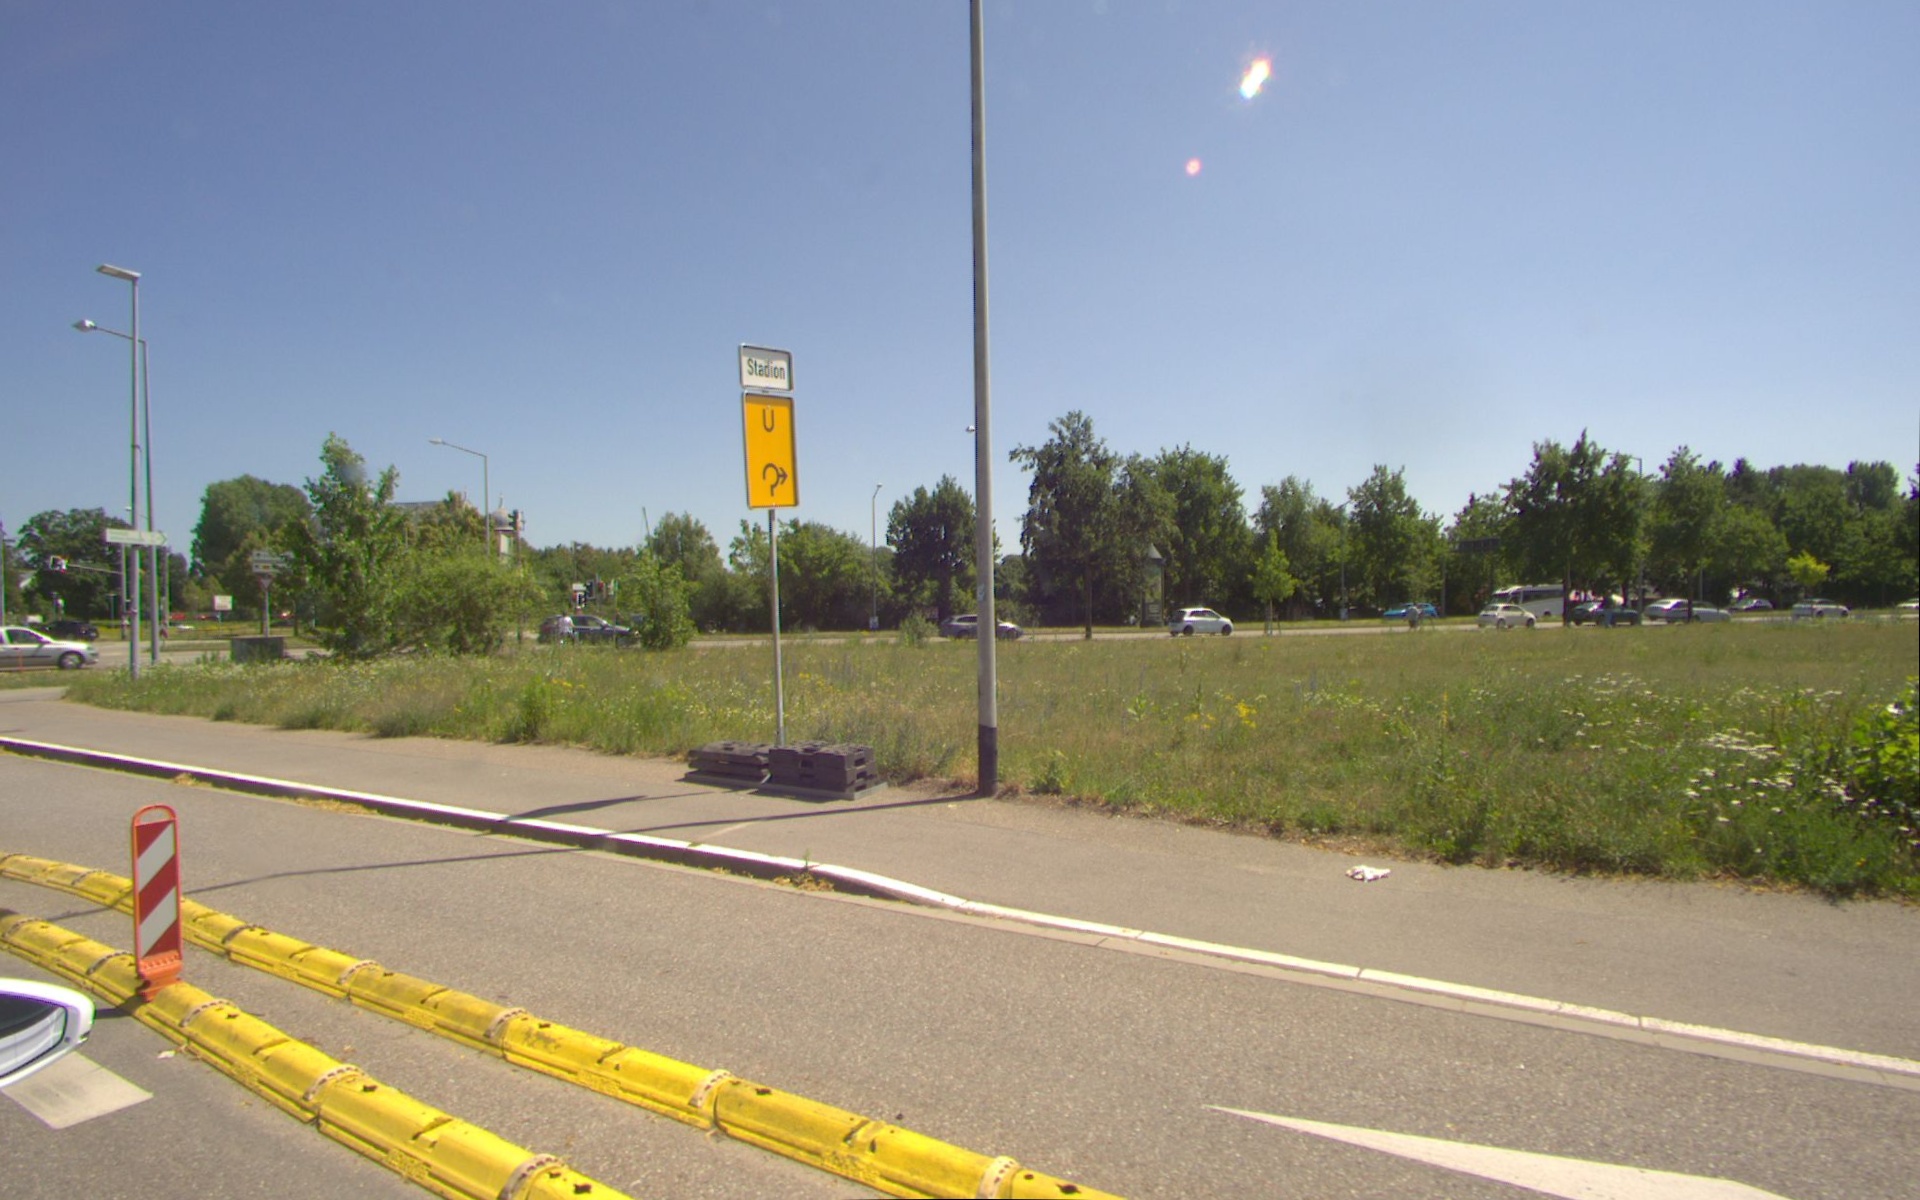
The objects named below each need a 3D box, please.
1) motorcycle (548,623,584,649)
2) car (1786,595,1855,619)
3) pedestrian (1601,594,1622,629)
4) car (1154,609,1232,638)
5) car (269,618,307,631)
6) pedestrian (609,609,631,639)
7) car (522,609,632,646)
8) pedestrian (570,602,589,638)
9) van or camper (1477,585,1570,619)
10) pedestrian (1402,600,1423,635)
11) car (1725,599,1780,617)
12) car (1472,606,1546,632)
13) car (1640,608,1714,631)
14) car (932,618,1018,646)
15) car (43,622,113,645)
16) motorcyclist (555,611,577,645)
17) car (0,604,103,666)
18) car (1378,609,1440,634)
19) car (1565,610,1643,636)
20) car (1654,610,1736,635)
[{"bbox_3d":[-15.107,1.371,38.425,0.619,0.982,1.709,0,-1,3],"label":"motorcycle"},{"bbox_3d":[59.816,0.491,69.624,3.928,1.572,1.738,0,-1,-16],"label":"car"},{"bbox_3d":[32.371,0.590,49.764,0.724,1.712,0.497,0,0,-18],"label":"pedestrian"},{"bbox_3d":[13.066,1.295,56.223,3.928,1.572,1.738,0,-1,-16],"label":"car"},{"bbox_3d":[-92.462,3.351,137.827,1.964,1.736,3.996,-1,-1,16],"label":"car"},{"bbox_3d":[-18.501,1.309,54.443,0.811,1.583,0.790,-1,-1,33],"label":"pedestrian"},{"bbox_3d":[-17.315,1.229,45.320,4.386,1.616,1.989,1,-1,-32],"label":"car"},{"bbox_3d":[-20.529,1.092,53.981,0.726,1.894,0.648,-1,-1,34],"label":"pedestrian"},{"bbox_3d":[46.704,0.206,83.016,7.383,2.728,2.508,0,-1,-19],"label":"van or camper"},{"bbox_3d":[20.718,0.811,45.889,0.724,1.583,0.497,0,-1,-18],"label":"pedestrian"},{"bbox_3d":[67.560,0.692,85.345,3.928,1.572,1.738,0,-1,-16],"label":"car"},{"bbox_3d":[33.882,1.200,61.856,3.928,1.572,1.738,0,-1,-16],"label":"car"},{"bbox_3d":[49.850,1.334,69.651,4.559,1.572,1.738,0,-1,-16],"label":"car"},{"bbox_3d":[0.770,1.671,52.042,4.131,1.409,1.899,0,-1,-15],"label":"car"},{"bbox_3d":[-67.695,2.559,76.865,4.122,1.695,1.947,-1,0,12],"label":"car"},{"bbox_3d":[-15.132,1.081,38.470,0.570,1.306,0.615,0,-1,3],"label":"motorcyclist"},{"bbox_3d":[-29.061,1.068,31.027,1.615,1.874,3.647,-1,-1,42],"label":"car"},{"bbox_3d":[34.212,1.663,76.374,3.927,1.861,1.998,0,-1,-15],"label":"car"},{"bbox_3d":[41.246,1.469,64.154,4.329,1.572,1.738,2,-1,-14],"label":"car"},{"bbox_3d":[46.030,1.409,62.721,3.999,1.524,1.999,0,-1,-12],"label":"car"}]
